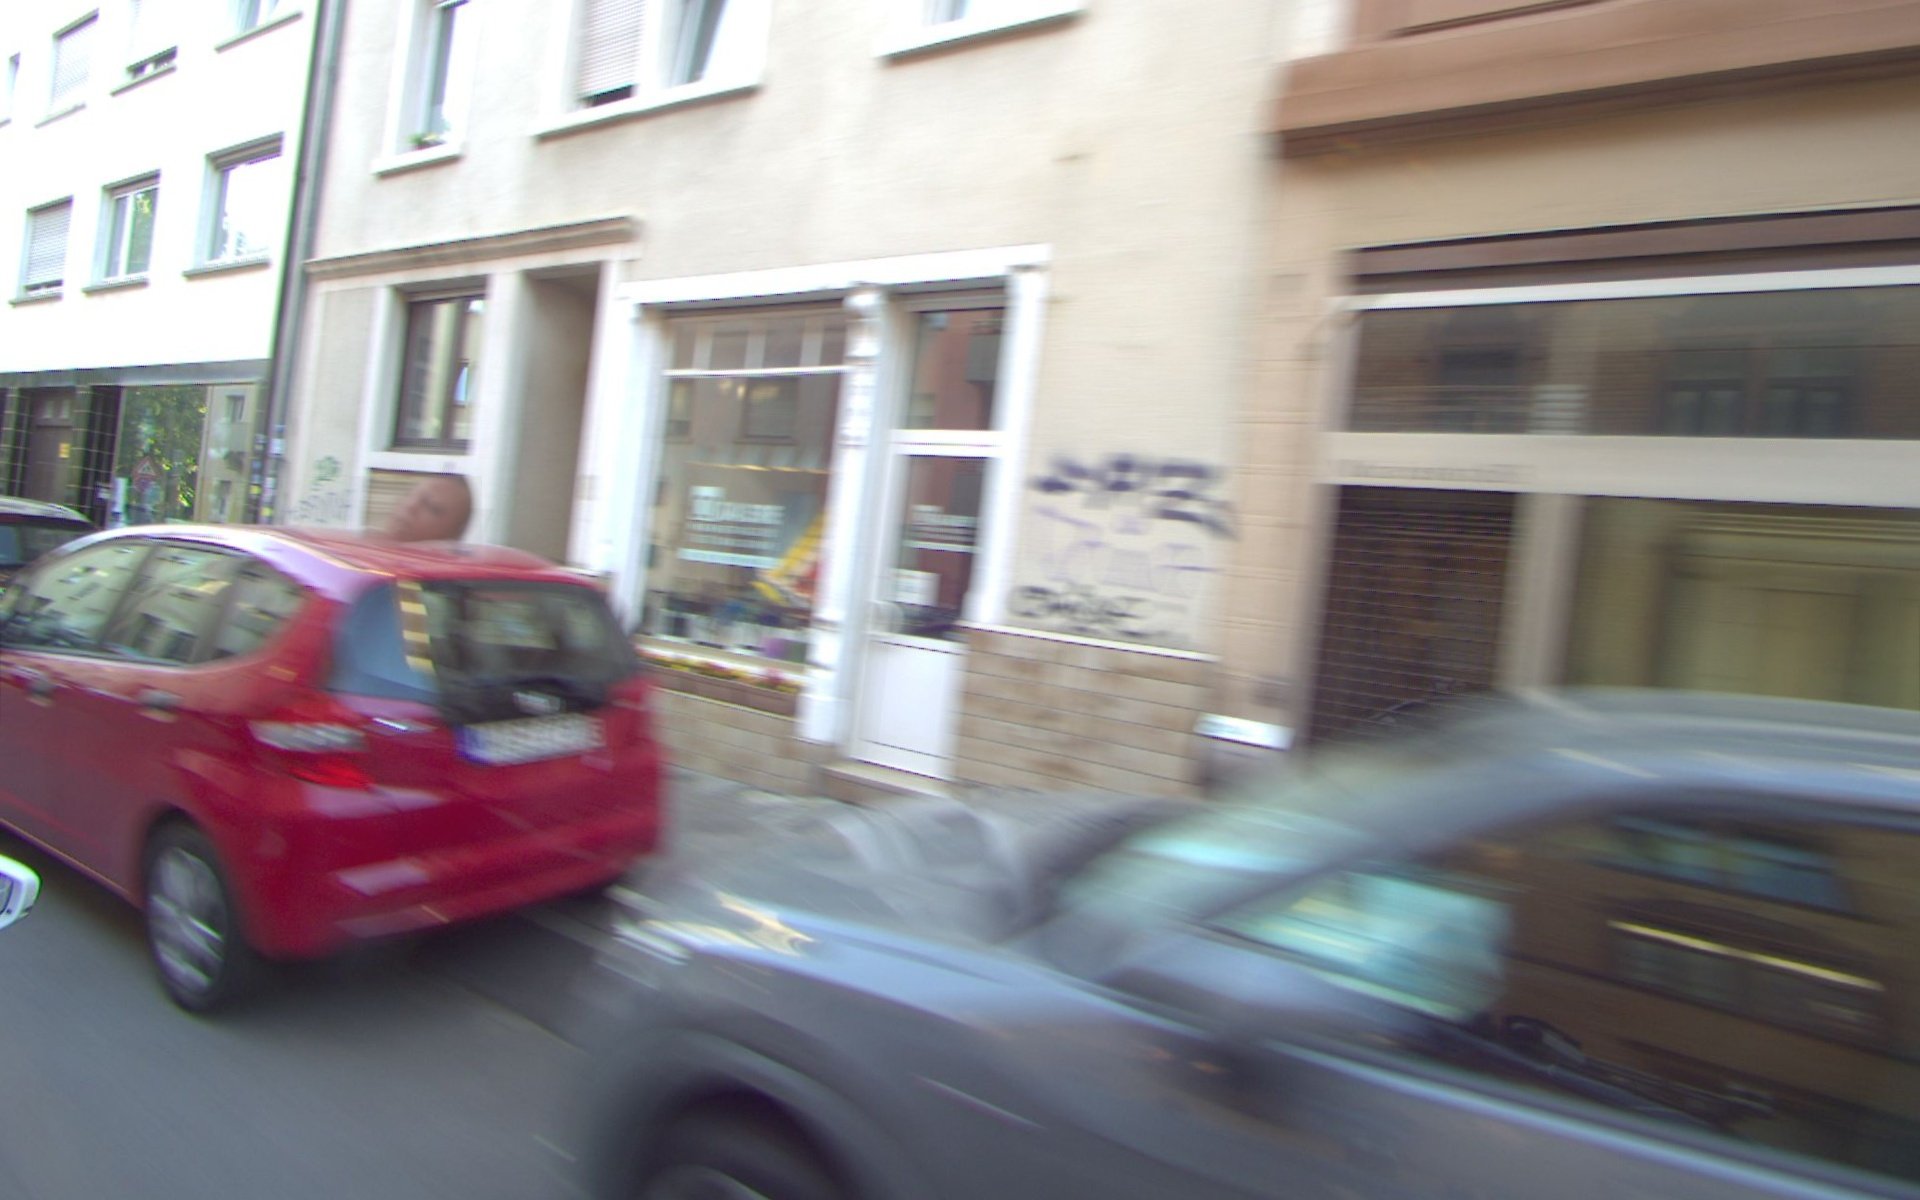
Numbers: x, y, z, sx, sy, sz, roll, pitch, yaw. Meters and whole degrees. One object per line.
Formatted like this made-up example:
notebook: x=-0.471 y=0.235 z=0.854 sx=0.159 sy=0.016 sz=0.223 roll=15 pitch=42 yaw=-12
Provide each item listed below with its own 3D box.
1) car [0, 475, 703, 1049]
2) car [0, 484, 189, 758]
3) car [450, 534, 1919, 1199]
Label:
car: x=-3.290 y=0.329 z=4.563 sx=4.114 sy=1.526 sz=1.599 roll=7 pitch=1 yaw=31
car: x=-7.009 y=-0.068 z=6.658 sx=3.872 sy=1.526 sz=1.677 roll=7 pitch=1 yaw=31
car: x=1.157 y=0.883 z=1.759 sx=3.953 sy=1.526 sz=1.745 roll=7 pitch=1 yaw=30
